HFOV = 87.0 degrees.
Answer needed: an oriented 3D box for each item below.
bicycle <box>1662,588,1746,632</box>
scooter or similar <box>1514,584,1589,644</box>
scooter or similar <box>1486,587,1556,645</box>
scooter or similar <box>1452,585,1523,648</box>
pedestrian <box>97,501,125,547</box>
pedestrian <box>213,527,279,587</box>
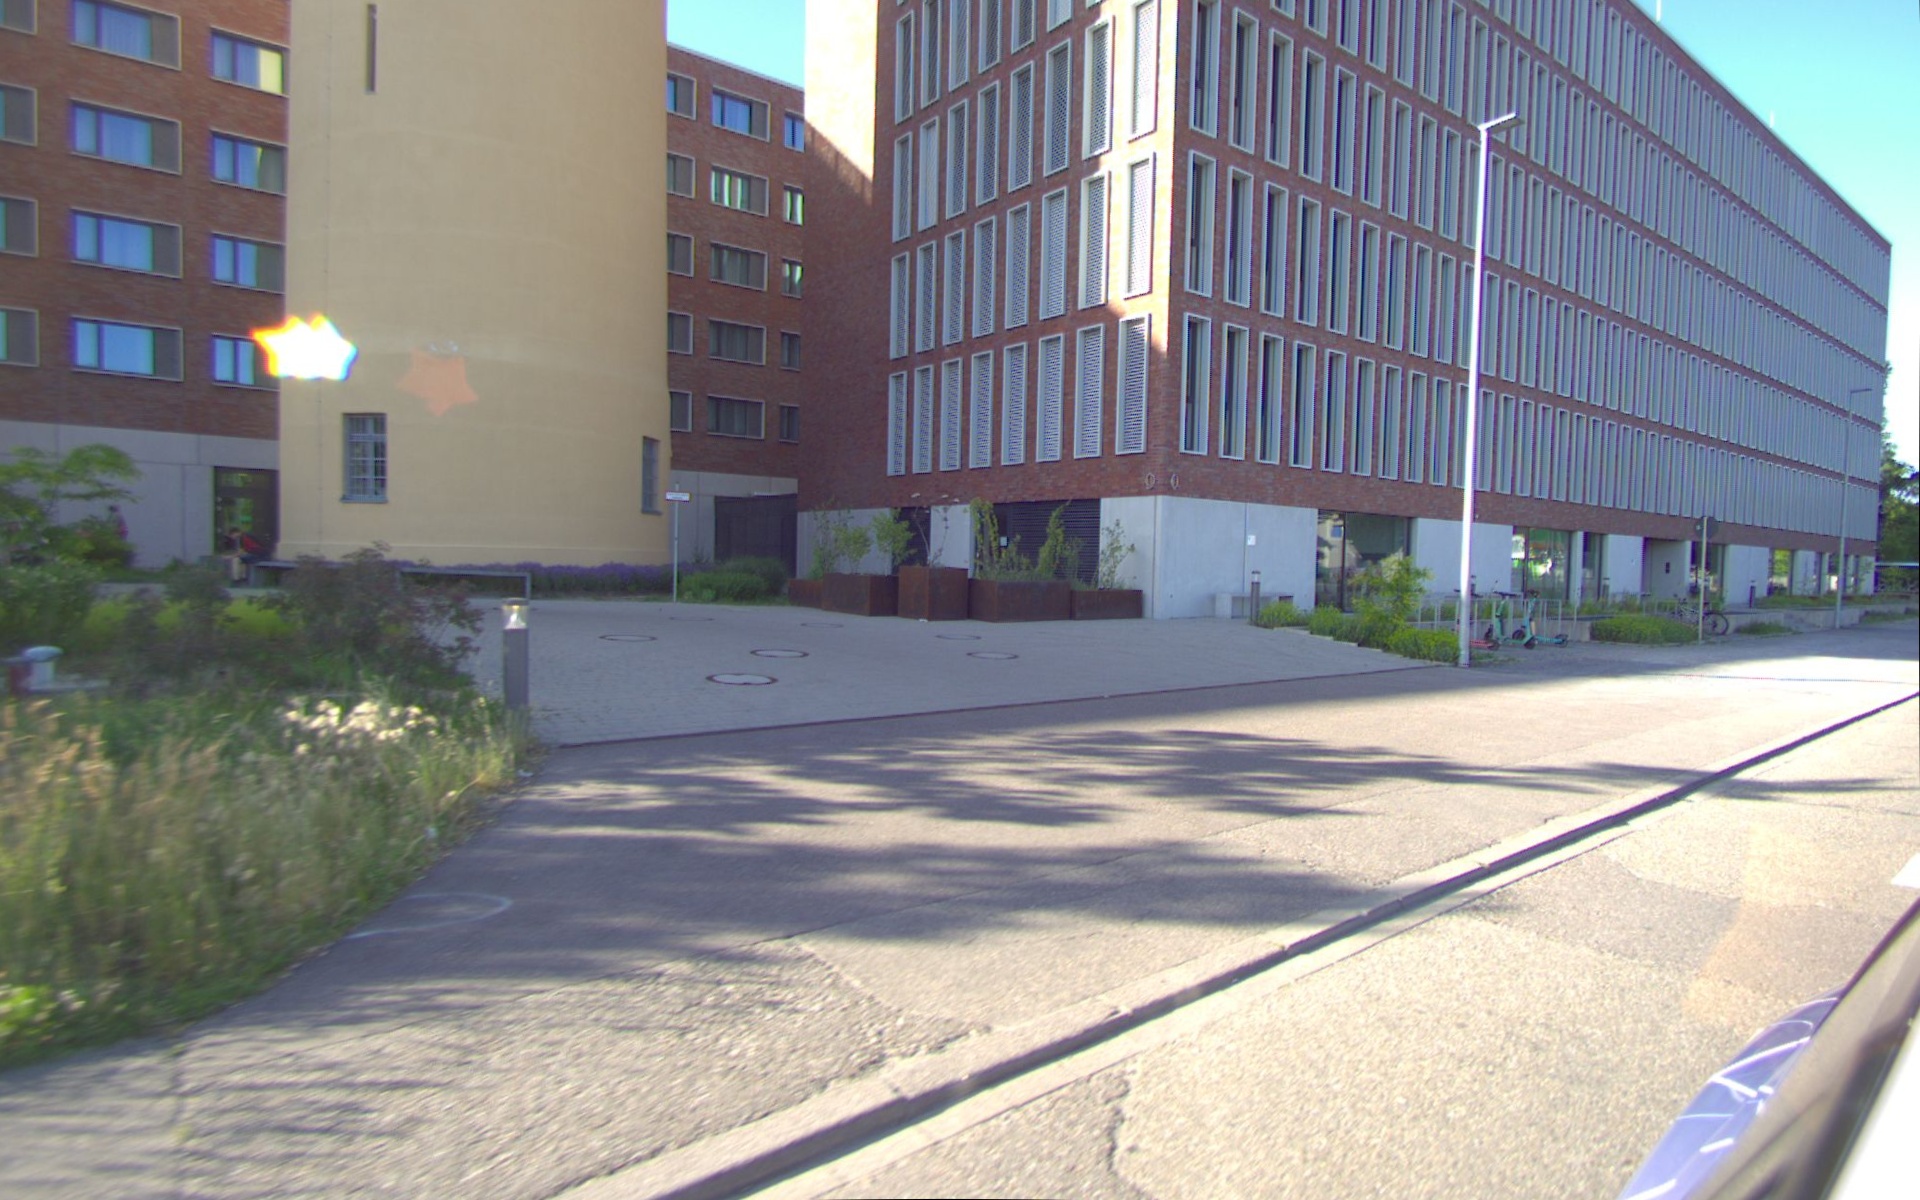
[{"bbox_3d":[22.028,0.280,30.003,0.369,1.184,1.933,0,3,-45],"label":"bicycle"},{"bbox_3d":[13.180,0.291,22.579,0.415,1.260,1.345,0,2,-35],"label":"scooter or similar"},{"bbox_3d":[11.955,0.323,21.607,0.359,1.170,1.247,0,2,-35],"label":"scooter or similar"},{"bbox_3d":[10.808,0.318,20.766,0.334,1.209,1.247,0,2,-35],"label":"scooter or similar"},{"bbox_3d":[-21.787,-1.933,25.965,0.525,1.155,0.341,-1,2,-43],"label":"pedestrian"},{"bbox_3d":[-14.193,-0.855,20.139,0.800,1.150,0.758,1,3,-4],"label":"pedestrian"}]
